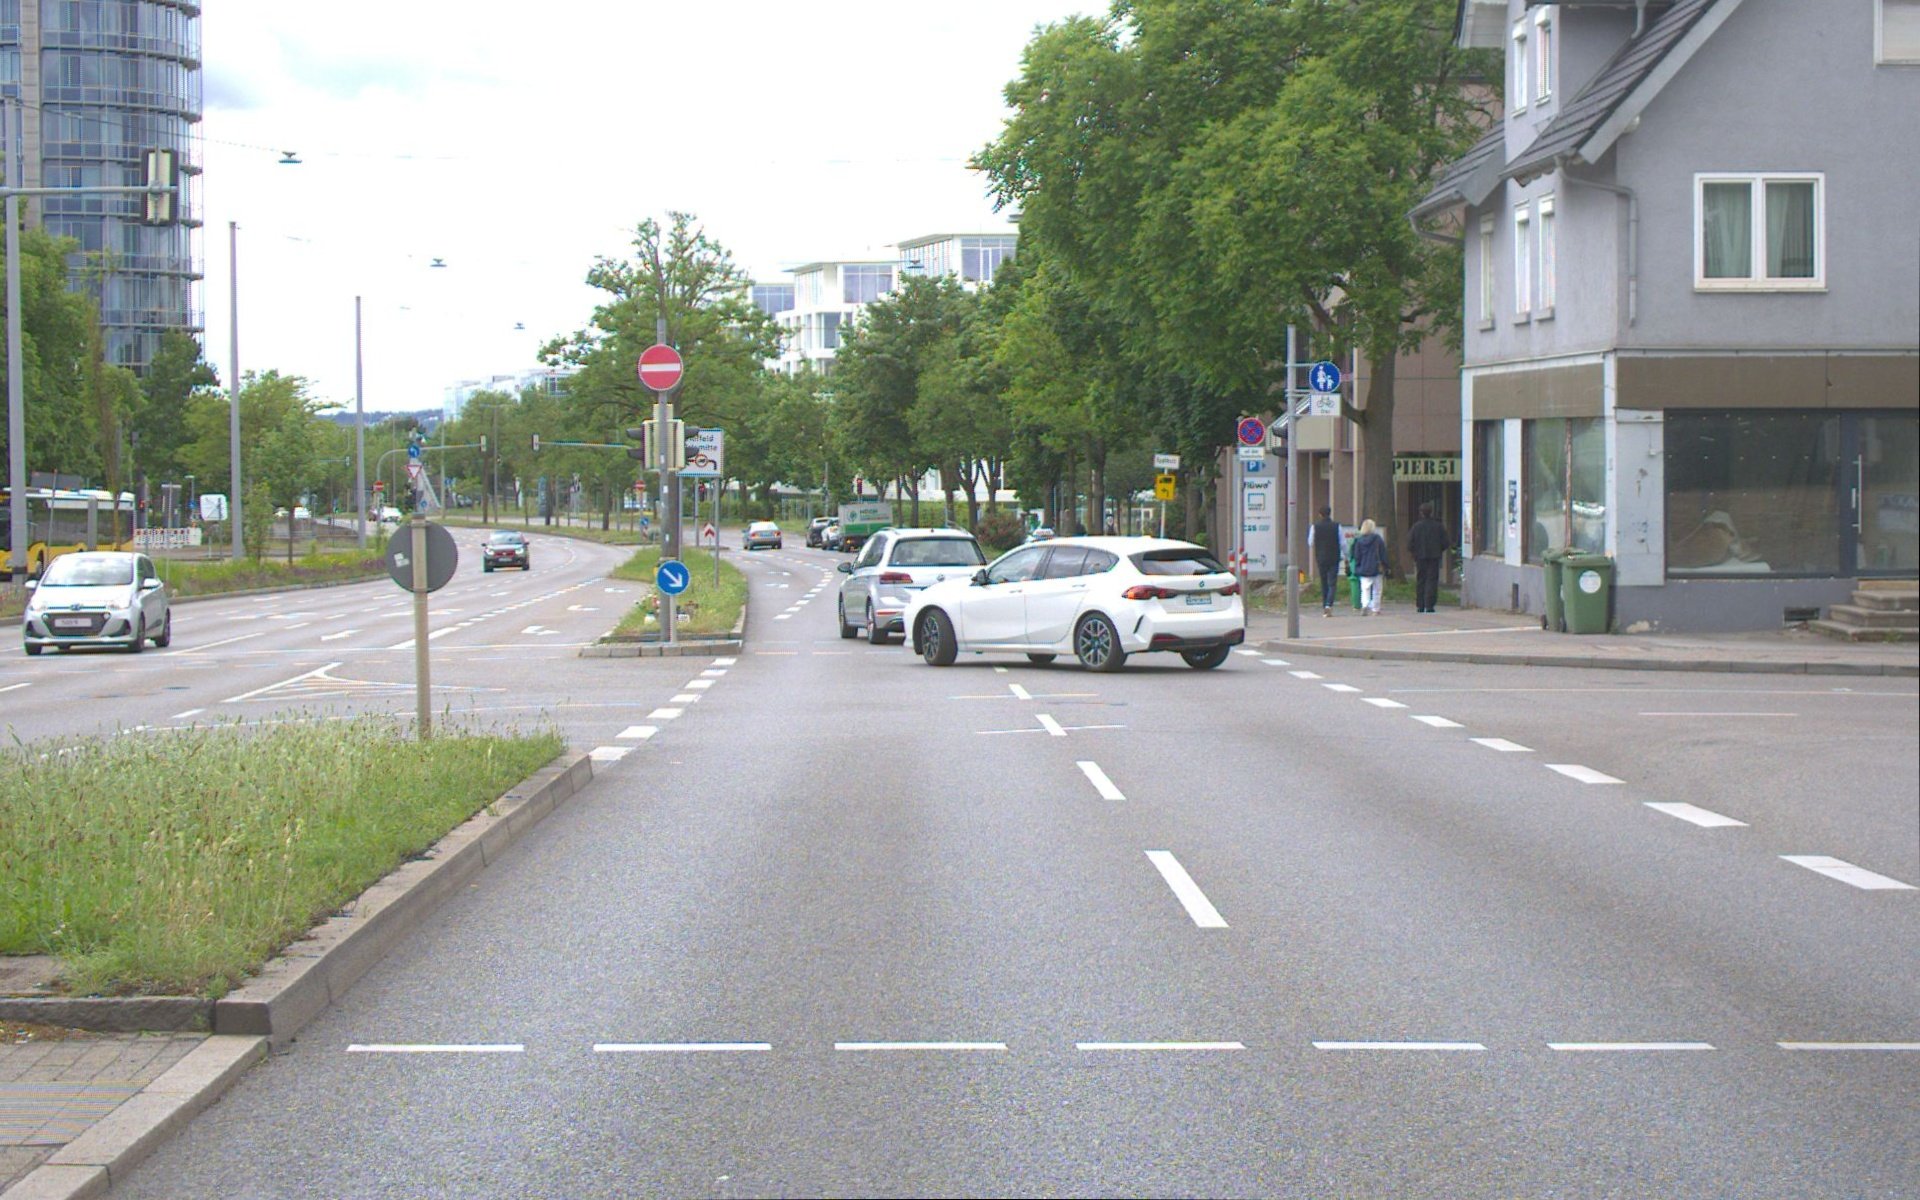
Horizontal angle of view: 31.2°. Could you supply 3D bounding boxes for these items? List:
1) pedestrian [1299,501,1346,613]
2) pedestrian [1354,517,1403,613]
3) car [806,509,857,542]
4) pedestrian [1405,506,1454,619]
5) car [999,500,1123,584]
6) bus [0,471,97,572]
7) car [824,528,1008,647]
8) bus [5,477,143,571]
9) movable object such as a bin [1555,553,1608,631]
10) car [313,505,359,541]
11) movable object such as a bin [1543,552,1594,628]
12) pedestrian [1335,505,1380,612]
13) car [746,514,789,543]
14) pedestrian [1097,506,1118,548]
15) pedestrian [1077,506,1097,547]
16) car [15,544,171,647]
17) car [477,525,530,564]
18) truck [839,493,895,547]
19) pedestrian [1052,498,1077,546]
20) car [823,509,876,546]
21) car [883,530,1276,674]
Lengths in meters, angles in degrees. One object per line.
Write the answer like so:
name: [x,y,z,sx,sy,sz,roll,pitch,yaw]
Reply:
pedestrian: [5.785,-0.687,54.879,0.705,1.773,0.870,-1,1,5]
pedestrian: [6.620,-0.554,54.385,0.705,1.502,0.870,-1,1,4]
car: [-6.512,-3.749,173.864,2.250,1.641,4.934,-1,1,-5]
pedestrian: [7.393,-0.588,54.127,0.705,1.754,1.052,-1,1,6]
car: [1.860,-1.064,64.383,1.889,1.489,4.099,-1,0,-4]
bus: [-31.398,-2.573,114.468,3.144,3.214,10.286,-1,1,-3]
car: [-0.664,-0.206,47.875,1.822,1.535,4.115,1,1,-11]
bus: [-31.737,-2.715,123.472,3.144,3.214,7.766,-1,1,-2]
movable object such as a bin: [7.963,-0.104,44.055,0.529,0.976,0.736,-1,1,-1]
car: [-36.342,-4.472,200.264,1.965,2.007,4.000,1,1,-1]
movable object such as a bin: [7.935,-0.138,44.845,0.529,0.976,0.736,-1,1,-1]
pedestrian: [6.649,-0.699,57.473,0.705,1.773,0.870,-1,1,5]
car: [-9.697,-3.603,173.156,1.967,1.415,4.023,-1,1,-5]
pedestrian: [5.548,-2.752,129.205,0.650,1.564,0.671,-1,1,-8]
pedestrian: [4.767,-2.759,129.106,0.650,1.564,0.671,-1,1,-8]
car: [-12.802,-0.092,50.929,1.684,1.457,3.556,-1,1,-5]
car: [-17.878,-2.176,134.839,1.702,1.487,3.562,-1,1,-2]
truck: [-4.269,-3.651,156.473,2.251,2.408,4.934,0,1,-5]
pedestrian: [4.415,-3.288,145.521,0.971,2.007,0.981,1,0,-1]
car: [-5.316,-3.484,165.071,2.251,1.751,4.934,-1,1,-5]
car: [1.283,-0.020,38.487,1.994,1.472,4.254,-1,2,-42]
